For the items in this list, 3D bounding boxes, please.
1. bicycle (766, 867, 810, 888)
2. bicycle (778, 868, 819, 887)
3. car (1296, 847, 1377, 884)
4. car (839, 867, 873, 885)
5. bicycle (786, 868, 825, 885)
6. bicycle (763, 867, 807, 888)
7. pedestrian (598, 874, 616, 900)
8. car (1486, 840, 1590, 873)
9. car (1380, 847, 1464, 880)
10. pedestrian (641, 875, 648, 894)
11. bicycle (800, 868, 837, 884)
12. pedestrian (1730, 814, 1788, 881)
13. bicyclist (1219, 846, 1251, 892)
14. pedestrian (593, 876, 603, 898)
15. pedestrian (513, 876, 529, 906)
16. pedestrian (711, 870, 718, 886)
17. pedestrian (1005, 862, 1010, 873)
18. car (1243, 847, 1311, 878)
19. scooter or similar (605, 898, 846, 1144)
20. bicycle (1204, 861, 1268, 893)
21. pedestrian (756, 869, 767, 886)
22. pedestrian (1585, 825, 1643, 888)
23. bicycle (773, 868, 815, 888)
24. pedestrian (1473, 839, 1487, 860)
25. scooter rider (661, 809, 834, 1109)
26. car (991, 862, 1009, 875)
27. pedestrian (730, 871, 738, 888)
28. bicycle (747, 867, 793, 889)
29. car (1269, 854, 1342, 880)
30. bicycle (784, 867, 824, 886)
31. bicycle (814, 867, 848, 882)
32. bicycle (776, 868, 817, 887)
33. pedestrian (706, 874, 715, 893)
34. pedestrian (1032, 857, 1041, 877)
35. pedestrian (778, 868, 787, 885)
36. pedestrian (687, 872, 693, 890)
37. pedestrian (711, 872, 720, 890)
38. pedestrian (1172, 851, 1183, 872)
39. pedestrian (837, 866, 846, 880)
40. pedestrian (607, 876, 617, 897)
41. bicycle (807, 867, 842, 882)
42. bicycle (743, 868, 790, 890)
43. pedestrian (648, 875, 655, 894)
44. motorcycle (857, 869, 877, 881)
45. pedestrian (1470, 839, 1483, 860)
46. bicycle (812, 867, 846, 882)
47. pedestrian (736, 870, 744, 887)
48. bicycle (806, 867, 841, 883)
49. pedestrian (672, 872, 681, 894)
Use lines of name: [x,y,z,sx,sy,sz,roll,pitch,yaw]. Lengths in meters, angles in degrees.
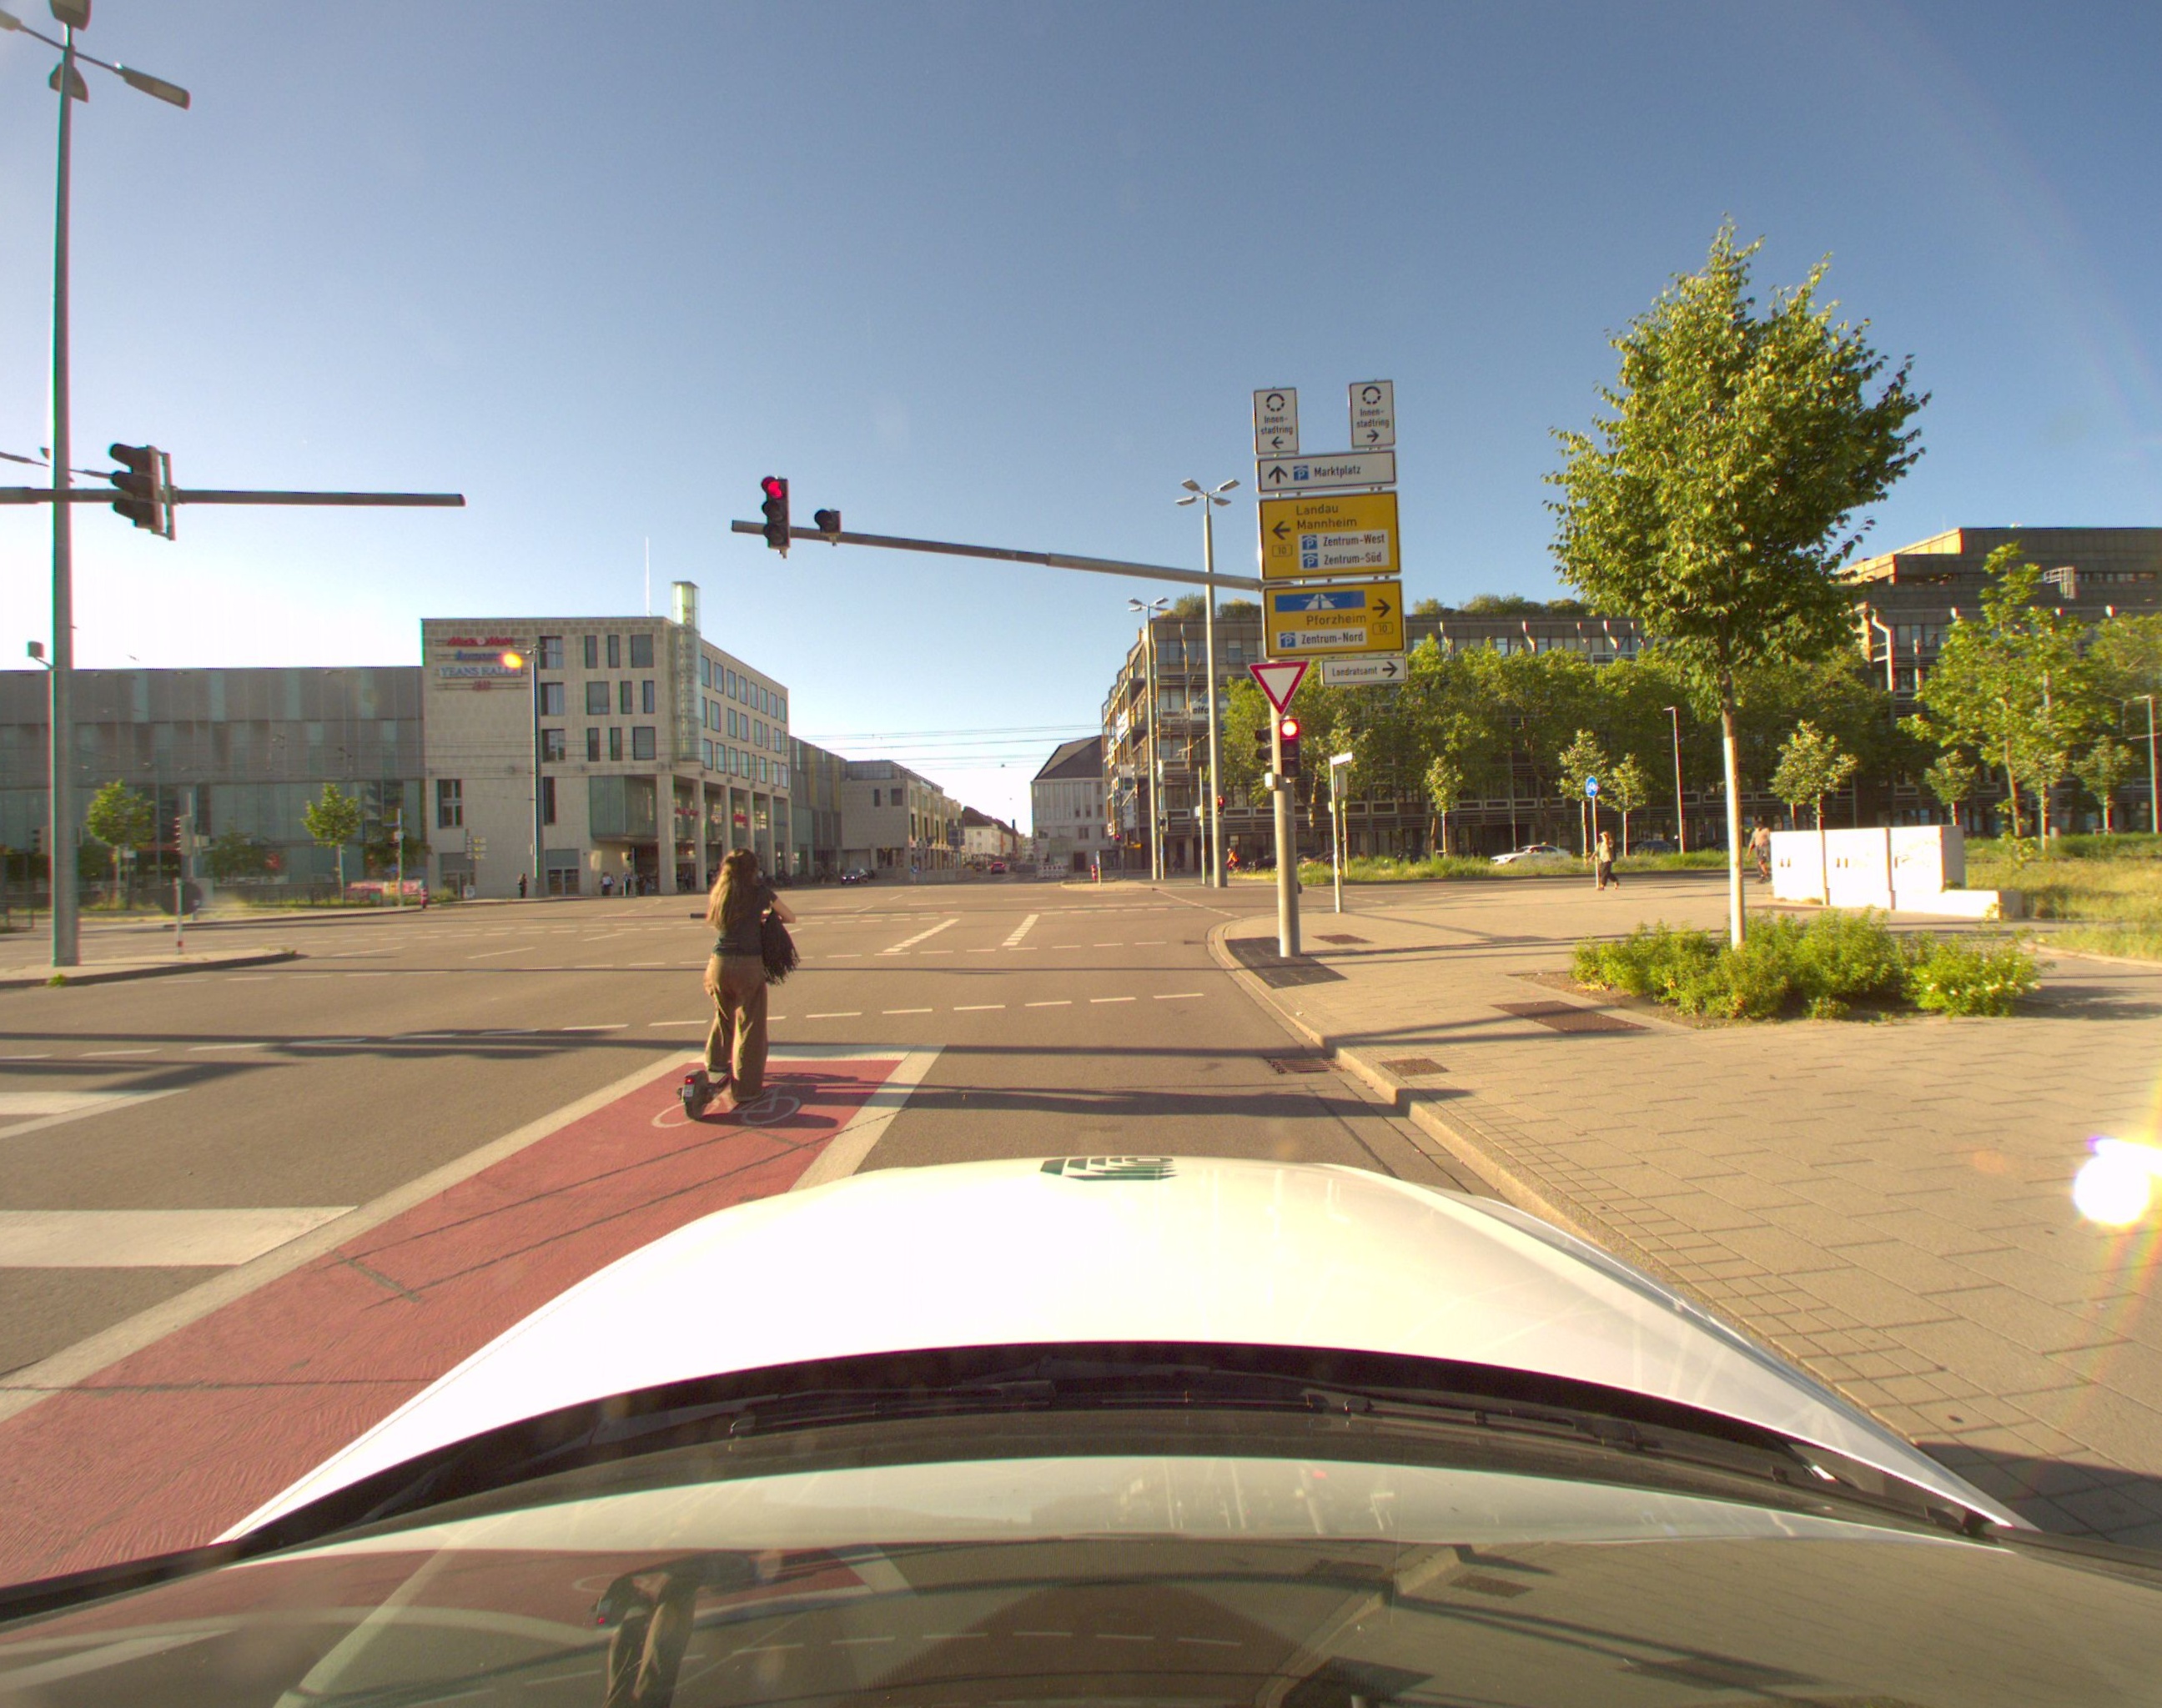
bicycle: [-26.312,2.124,73.170,3.488,1.696,1.114,-2,0,-7]
bicycle: [-27.035,2.219,78.061,3.491,1.696,0.984,-2,0,-10]
car: [14.457,0.624,46.196,3.975,2.014,1.999,0,-1,-1]
car: [-20.735,1.983,75.060,1.987,1.486,3.999,-2,0,-1]
bicycle: [-27.400,2.236,81.155,3.491,1.527,0.984,-2,0,-10]
bicycle: [-26.136,2.078,71.949,3.488,1.696,1.114,-2,0,-7]
pedestrian: [-33.778,2.313,58.032,0.755,1.798,0.736,-2,0,-3]
car: [28.898,0.149,51.638,5.424,2.014,2.097,0,-1,-1]
car: [21.410,0.567,51.233,4.435,2.014,1.998,0,-1,-4]
pedestrian: [-32.882,2.287,61.331,0.389,1.426,0.497,-2,0,-35]
bicycle: [-27.538,2.301,85.576,3.491,1.527,0.984,-2,0,-10]
pedestrian: [18.164,-0.175,21.832,0.694,1.728,0.939,-2,0,-12]
bicyclist: [8.889,0.860,47.059,1.566,2.580,0.929,-2,0,-7]
pedestrian: [-35.683,2.424,60.204,0.420,1.565,0.457,-2,0,2]
pedestrian: [-32.539,2.156,47.319,0.525,1.694,0.546,-2,0,-8]
pedestrian: [-33.437,2.154,74.322,0.385,1.439,0.367,-2,0,-3]
pedestrian: [-9.605,1.712,106.727,0.608,1.411,0.569,-2,0,-5]
car: [12.845,0.566,53.611,3.975,2.014,1.999,0,-1,-1]
scooter or similar: [-2.126,0.929,5.146,0.725,1.202,1.665,-1,0,2]
bicycle: [8.930,1.321,47.055,3.488,1.659,0.929,-2,0,-7]
pedestrian: [-30.442,2.235,77.582,0.784,1.642,0.693,-2,0,-8]
pedestrian: [14.175,0.067,21.675,0.801,1.630,0.939,-2,0,-12]
bicycle: [-26.672,2.189,75.756,3.491,1.696,0.984,-2,0,-10]
pedestrian: [31.861,-0.350,65.059,0.662,1.658,0.739,-2,0,-5]
scooter rider: [-2.111,0.626,5.256,0.726,1.775,0.811,-1,0,1]
car: [-10.777,1.895,108.853,2.195,1.607,4.320,-2,0,-4]
pedestrian: [-33.444,2.413,78.386,0.480,1.585,0.598,-2,0,-3]
bicycle: [-26.901,2.084,70.463,3.488,1.696,1.114,-2,0,-7]
car: [13.856,0.788,50.462,3.976,1.508,1.867,-1,0,-2]
bicycle: [-27.239,2.243,80.158,3.491,1.696,0.984,-2,0,-10]
bicycle: [-28.161,2.302,91.743,3.491,1.527,0.984,-2,0,-10]
bicycle: [-26.847,2.208,76.852,3.491,1.696,0.984,-2,0,-10]
pedestrian: [-32.313,2.593,71.053,0.480,1.585,0.513,-2,0,-3]
pedestrian: [-3.779,1.087,68.631,0.661,1.658,0.755,-2,0,-1]
pedestrian: [-30.074,2.289,82.118,0.652,1.642,0.693,-2,0,-7]
pedestrian: [-34.726,2.364,72.336,0.385,1.585,0.367,-2,0,-3]
pedestrian: [-32.200,2.382,71.747,0.480,1.510,0.513,-2,0,-3]
pedestrian: [7.797,0.601,65.637,0.728,1.658,0.649,-2,0,-5]
pedestrian: [-28.954,2.301,98.288,0.686,1.642,0.703,-2,0,35]
pedestrian: [-34.859,2.421,60.474,0.420,1.565,0.457,-2,0,2]
bicycle: [-27.912,2.222,88.573,3.491,1.527,0.984,-2,0,-10]
bicycle: [-26.724,2.105,69.288,3.488,1.696,1.114,-2,0,-7]
pedestrian: [-32.479,2.330,61.617,0.389,1.412,0.433,-2,-1,-38]
motorcycle: [-25.956,2.546,98.860,2.269,1.318,0.719,-2,0,-4]
pedestrian: [32.004,-0.344,65.896,0.662,1.658,0.739,-2,0,-5]
bicycle: [-27.919,2.260,90.350,3.491,1.527,0.984,-2,0,-10]
pedestrian: [-32.886,2.375,78.602,0.480,1.585,0.598,-2,0,-3]
bicycle: [-27.643,2.222,87.444,3.491,1.527,0.984,-2,0,-10]
pedestrian: [-30.233,2.149,60.904,0.544,1.642,0.545,-2,0,-31]
